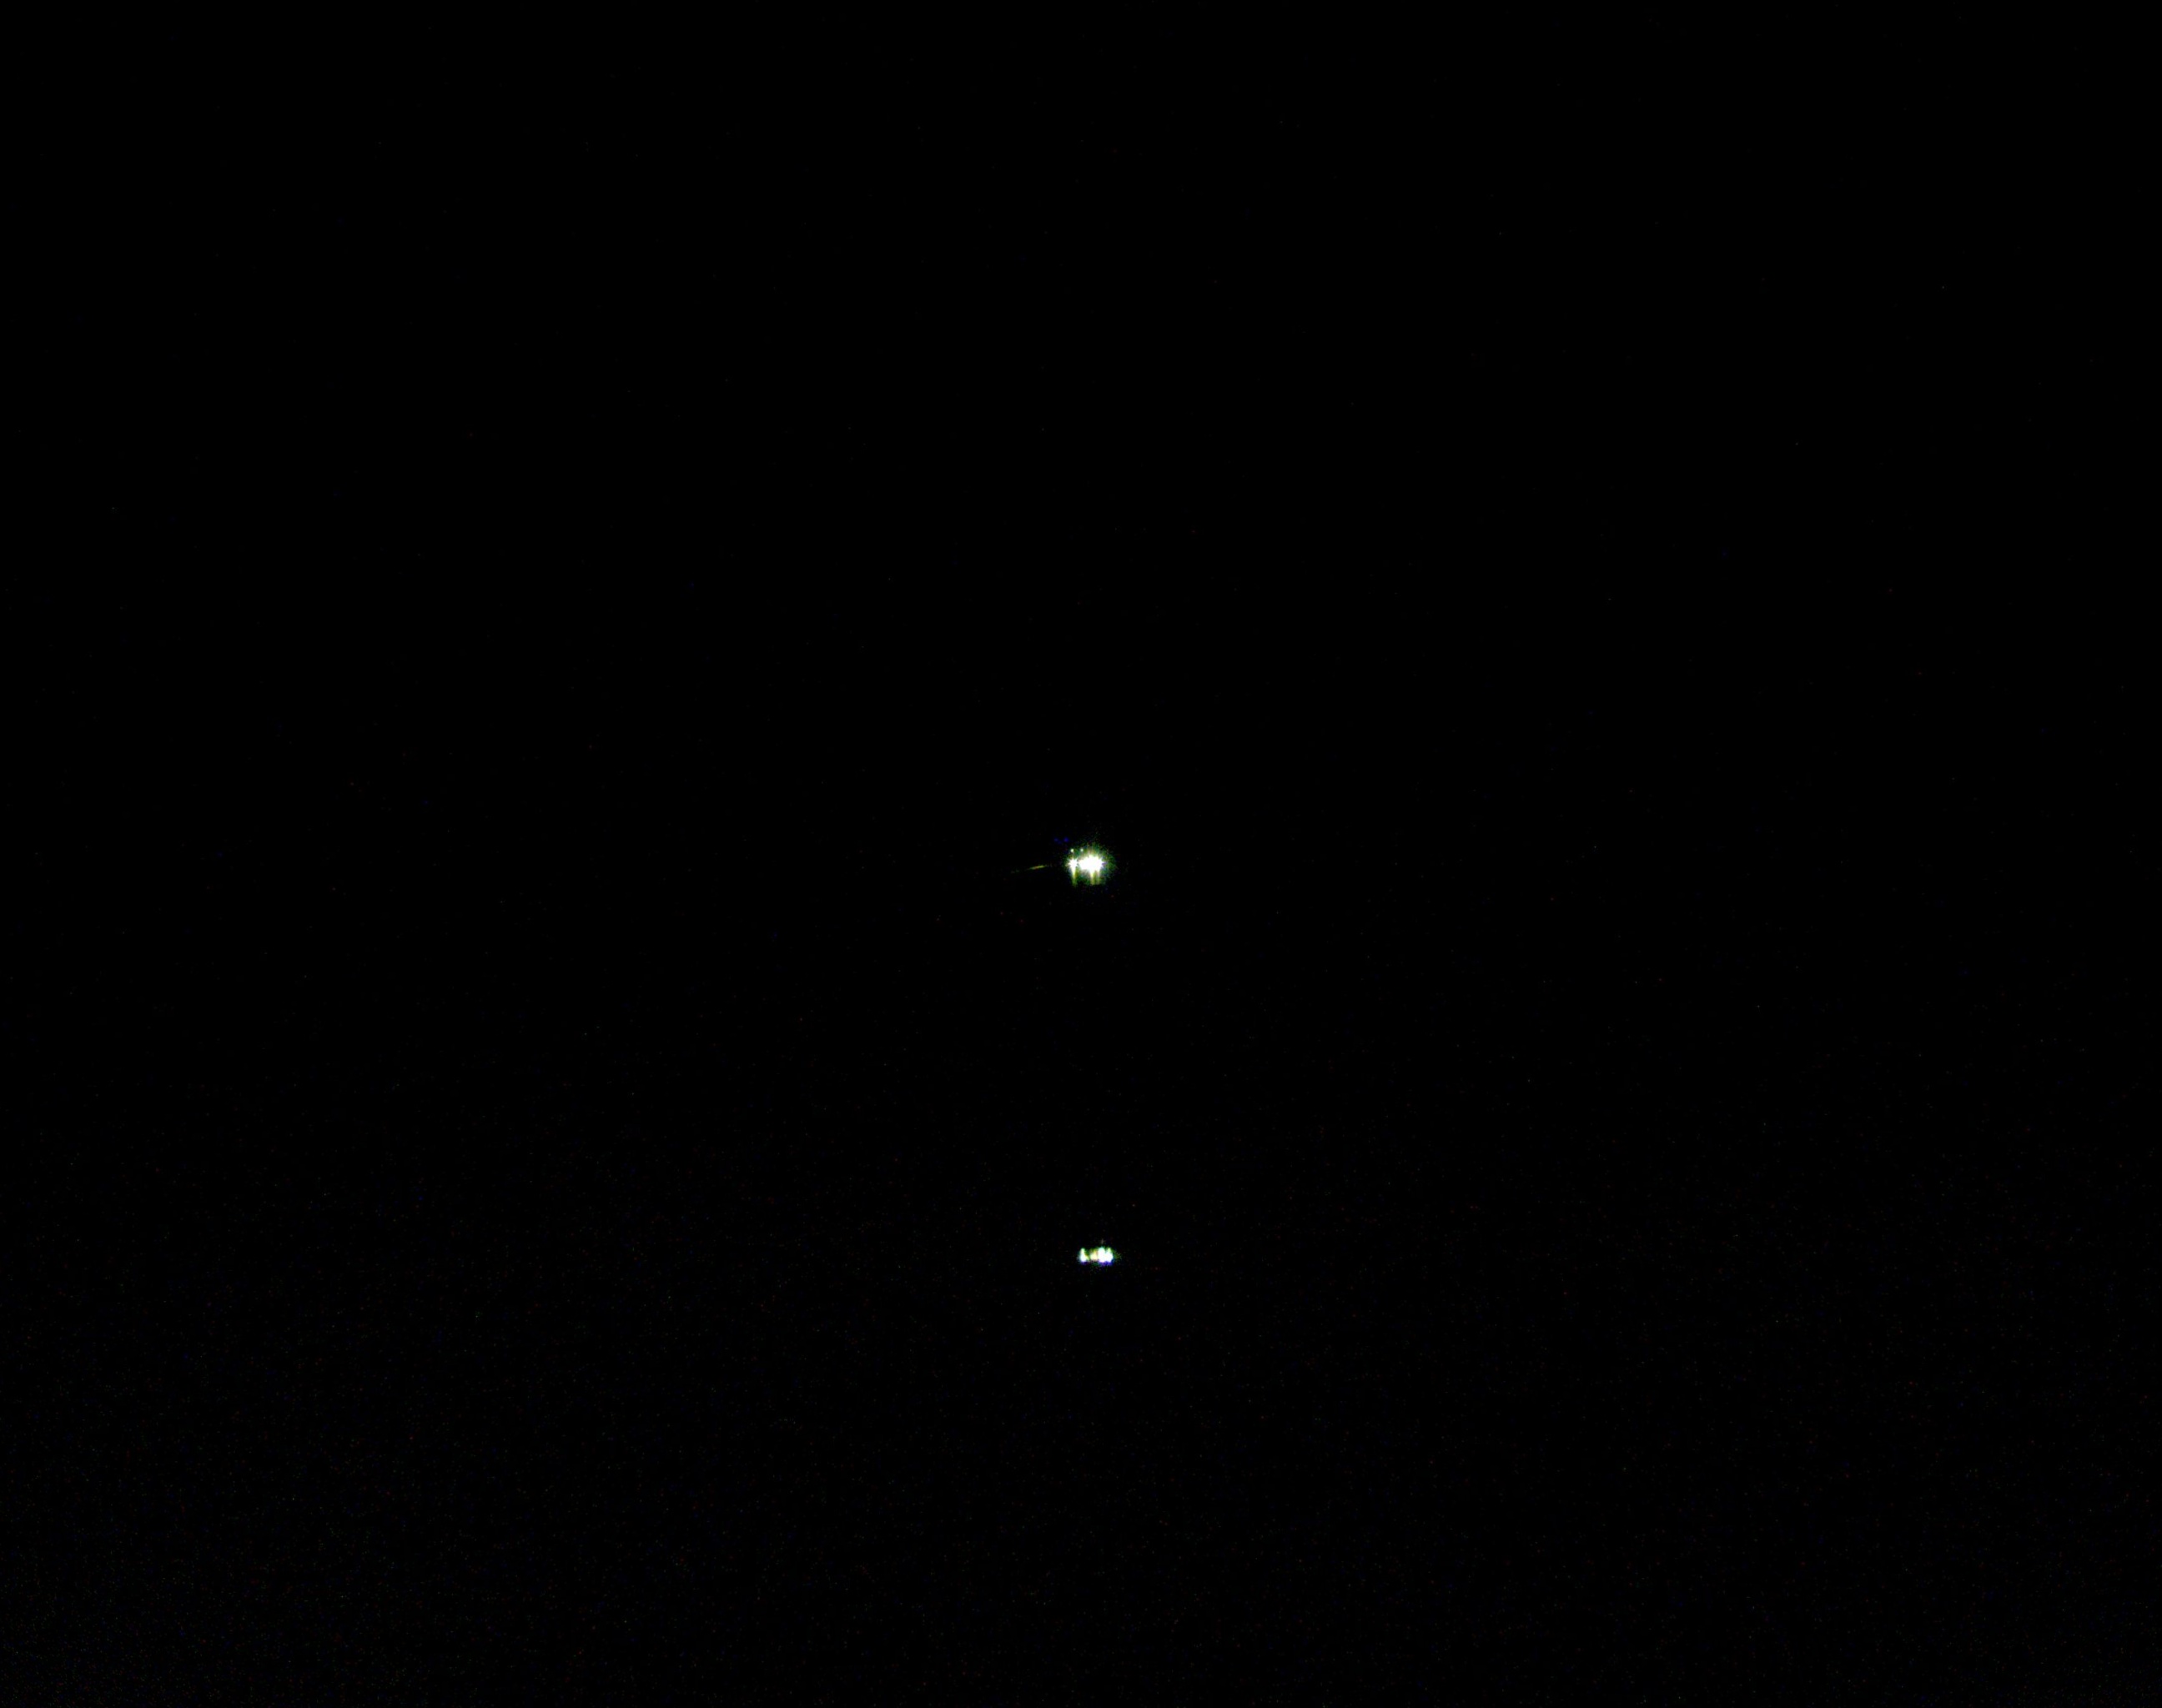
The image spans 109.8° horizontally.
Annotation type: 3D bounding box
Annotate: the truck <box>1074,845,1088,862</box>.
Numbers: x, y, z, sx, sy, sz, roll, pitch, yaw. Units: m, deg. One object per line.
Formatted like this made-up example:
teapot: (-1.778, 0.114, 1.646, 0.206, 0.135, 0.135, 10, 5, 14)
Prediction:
truck: (0.084, -0.073, 181.598, 3.003, 3.876, 12.889, -3, 0, 1)

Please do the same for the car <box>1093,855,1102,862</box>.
car: (3.903, 1.031, 179.293, 1.845, 1.474, 4.294, -3, 0, 3)
